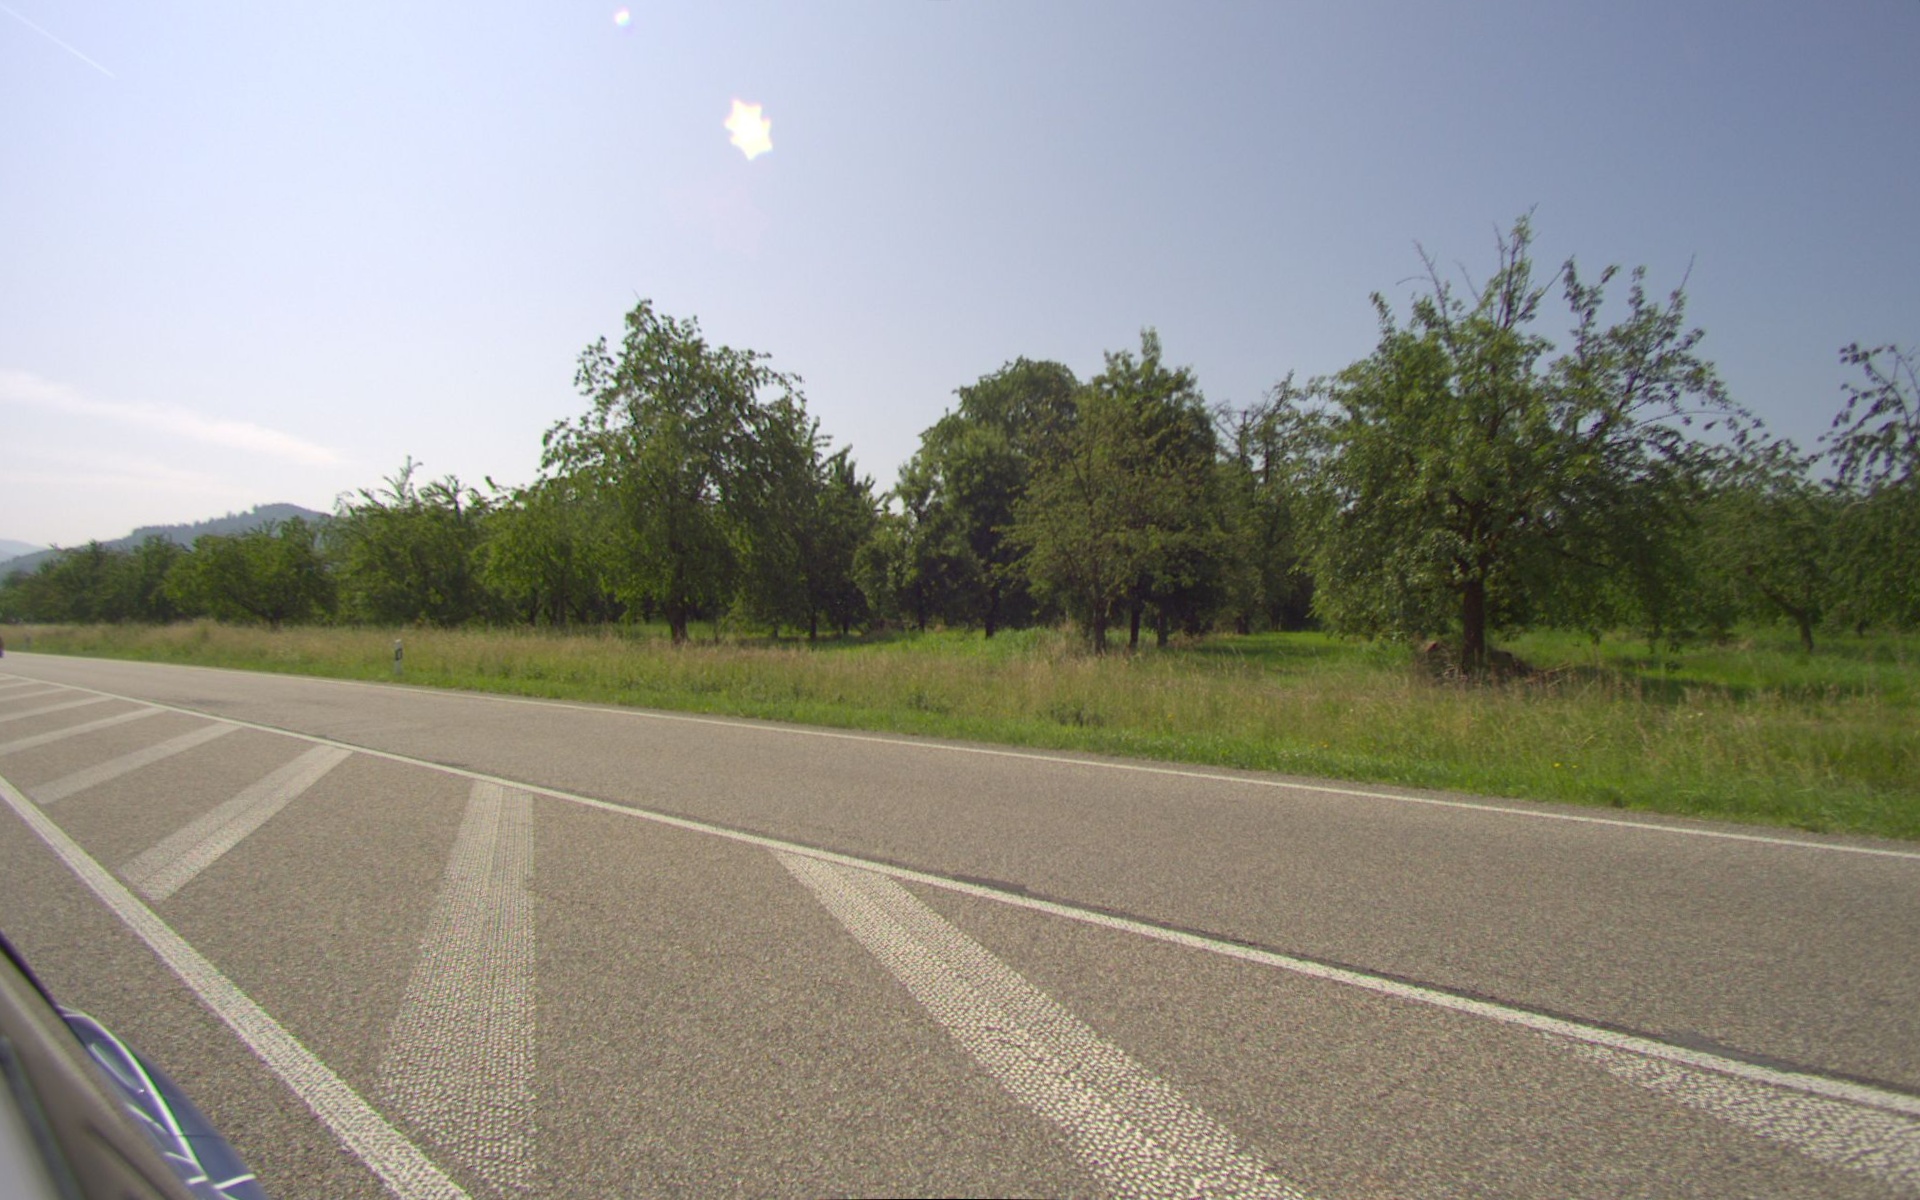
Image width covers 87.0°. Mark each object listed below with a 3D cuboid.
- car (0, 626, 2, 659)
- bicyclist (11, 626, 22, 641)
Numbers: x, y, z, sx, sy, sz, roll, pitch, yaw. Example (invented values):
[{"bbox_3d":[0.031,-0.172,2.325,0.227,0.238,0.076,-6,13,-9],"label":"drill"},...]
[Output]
[{"bbox_3d":[-43.717,1.893,44.627,3.821,1.427,1.680,-1,-1,39],"label":"car"},{"bbox_3d":[-95.642,3.419,102.599,0.863,1.466,0.732,0,0,42],"label":"bicyclist"}]
